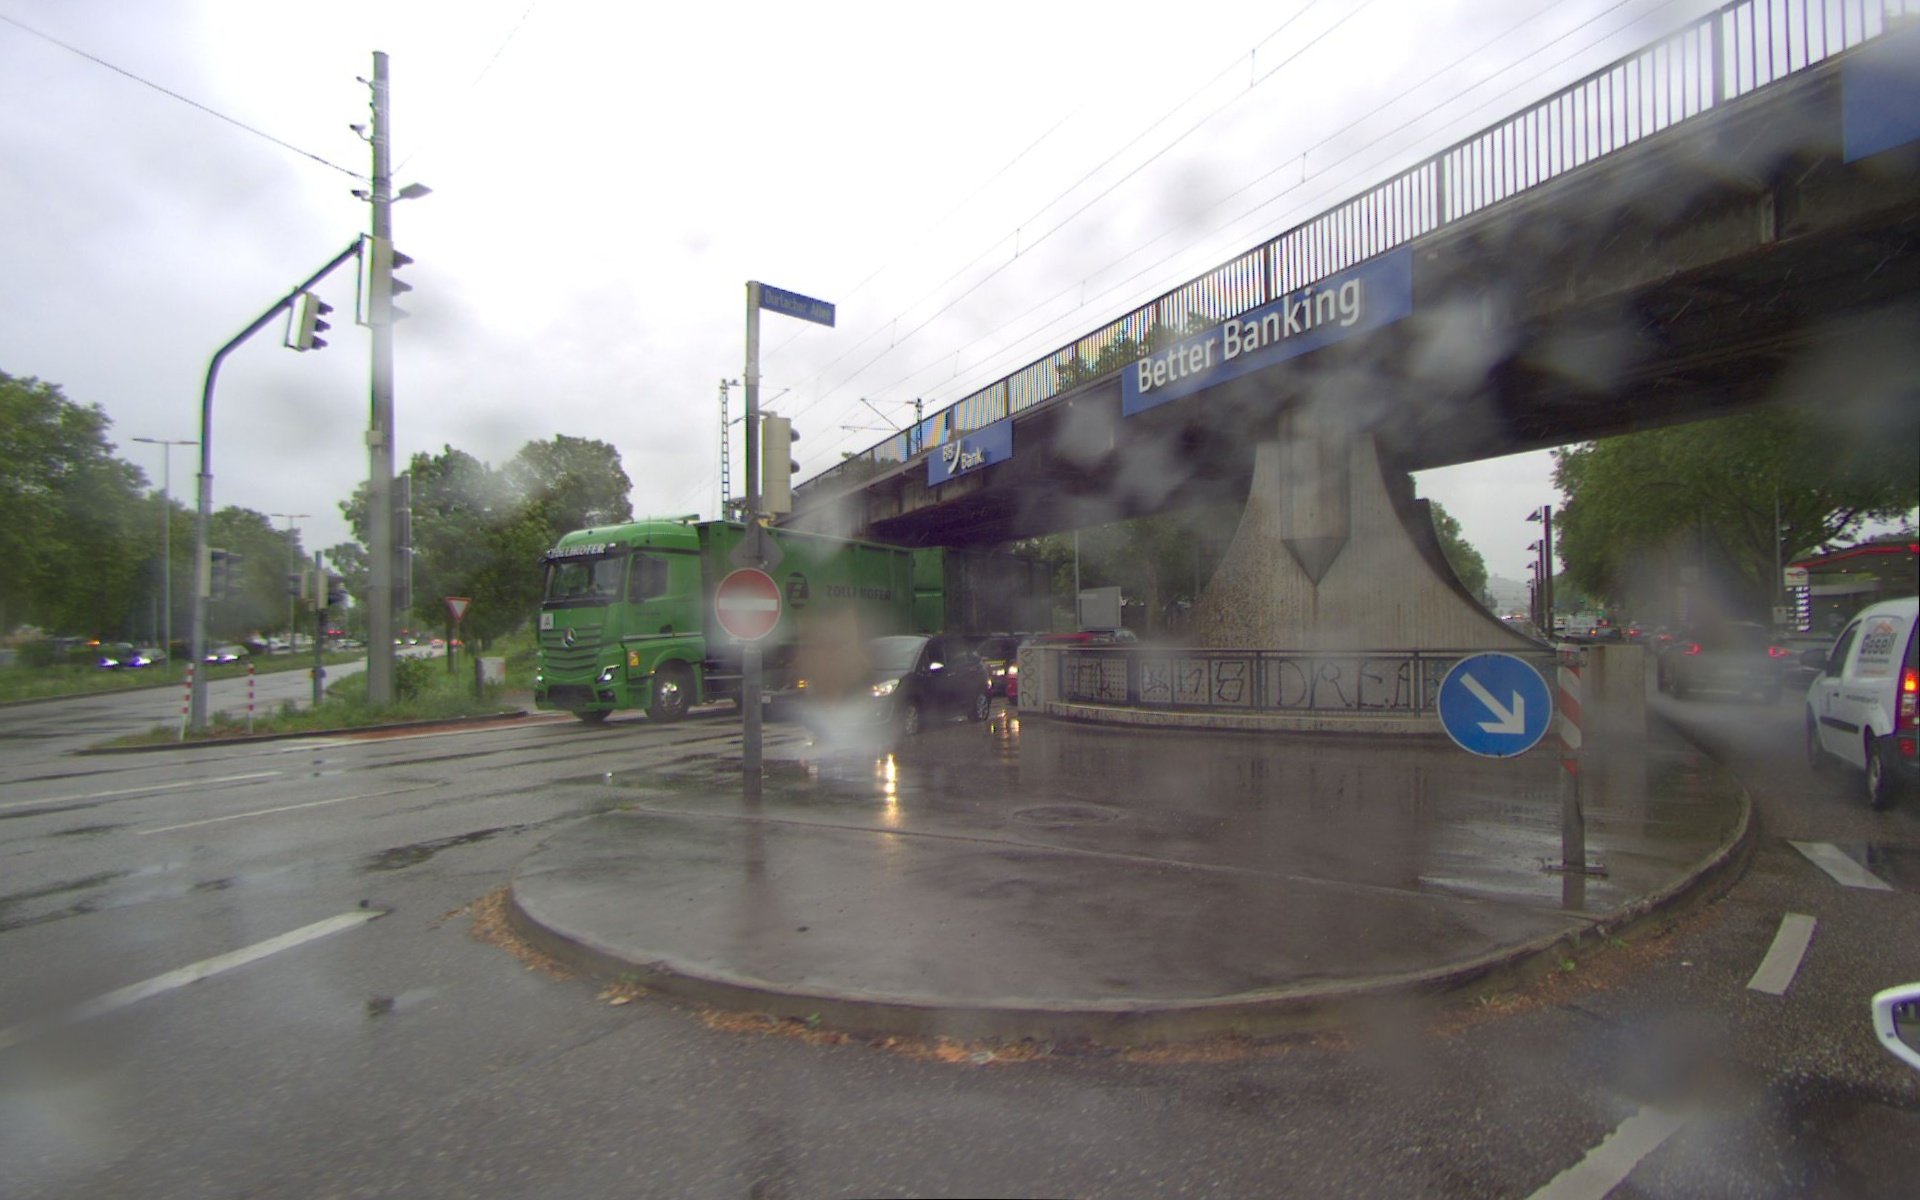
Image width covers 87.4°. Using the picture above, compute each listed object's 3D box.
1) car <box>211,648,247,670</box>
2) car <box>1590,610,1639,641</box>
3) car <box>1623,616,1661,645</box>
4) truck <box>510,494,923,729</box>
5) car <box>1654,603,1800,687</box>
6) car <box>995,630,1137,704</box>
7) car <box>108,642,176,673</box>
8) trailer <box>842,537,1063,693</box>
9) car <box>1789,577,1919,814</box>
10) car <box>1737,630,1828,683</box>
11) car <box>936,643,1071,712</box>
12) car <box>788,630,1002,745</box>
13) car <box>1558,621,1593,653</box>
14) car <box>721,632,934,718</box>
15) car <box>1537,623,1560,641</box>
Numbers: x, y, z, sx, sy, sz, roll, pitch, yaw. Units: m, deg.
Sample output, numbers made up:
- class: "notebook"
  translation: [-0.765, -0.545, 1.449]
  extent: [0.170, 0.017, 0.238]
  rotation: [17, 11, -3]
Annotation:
- class: "car"
  translation: [-54.875, 4.436, 75.445]
  extent: [1.561, 1.543, 3.898]
  rotation: [0, -2, -27]
- class: "car"
  translation: [31.721, 1.244, 48.623]
  extent: [1.711, 1.467, 3.985]
  rotation: [-2, -2, 37]
- class: "car"
  translation: [42.099, 1.851, 62.049]
  extent: [1.640, 1.738, 3.618]
  rotation: [0, -1, 30]
- class: "truck"
  translation: [-4.607, 0.340, 22.200]
  extent: [2.640, 4.001, 10.177]
  rotation: [-2, -2, 29]
- class: "car"
  translation: [16.269, 0.940, 21.510]
  extent: [1.889, 1.630, 3.993]
  rotation: [-2, -2, 29]
- class: "car"
  translation: [2.456, 1.419, 22.347]
  extent: [1.788, 1.471, 3.995]
  rotation: [-2, -2, 27]
- class: "car"
  translation: [-45.998, 3.212, 56.577]
  extent: [1.882, 1.606, 3.905]
  rotation: [0, -2, -22]
- class: "trailer"
  translation: [0.090, 0.489, 30.294]
  extent: [2.642, 4.039, 8.503]
  rotation: [-2, -2, 31]
- class: "car"
  translation: [8.875, 0.757, 8.998]
  extent: [1.731, 1.801, 3.990]
  rotation: [-1, -2, 33]
- class: "car"
  translation: [22.011, 1.490, 26.984]
  extent: [1.659, 1.300, 3.246]
  rotation: [-2, -2, 36]
- class: "car"
  translation: [1.209, 1.932, 25.988]
  extent: [1.964, 1.594, 3.994]
  rotation: [-2, -2, 28]
- class: "car"
  translation: [-0.877, 1.275, 15.969]
  extent: [1.629, 1.566, 3.996]
  rotation: [-2, -2, 26]
- class: "car"
  translation: [43.456, 2.620, 71.033]
  extent: [2.019, 2.168, 3.992]
  rotation: [-1, -2, 31]
- class: "car"
  translation: [-2.500, 1.405, 20.177]
  extent: [1.716, 1.505, 4.675]
  rotation: [-2, -2, 31]
- class: "car"
  translation: [66.031, 3.575, 112.652]
  extent: [1.966, 2.040, 3.989]
  rotation: [-1, -2, 33]
